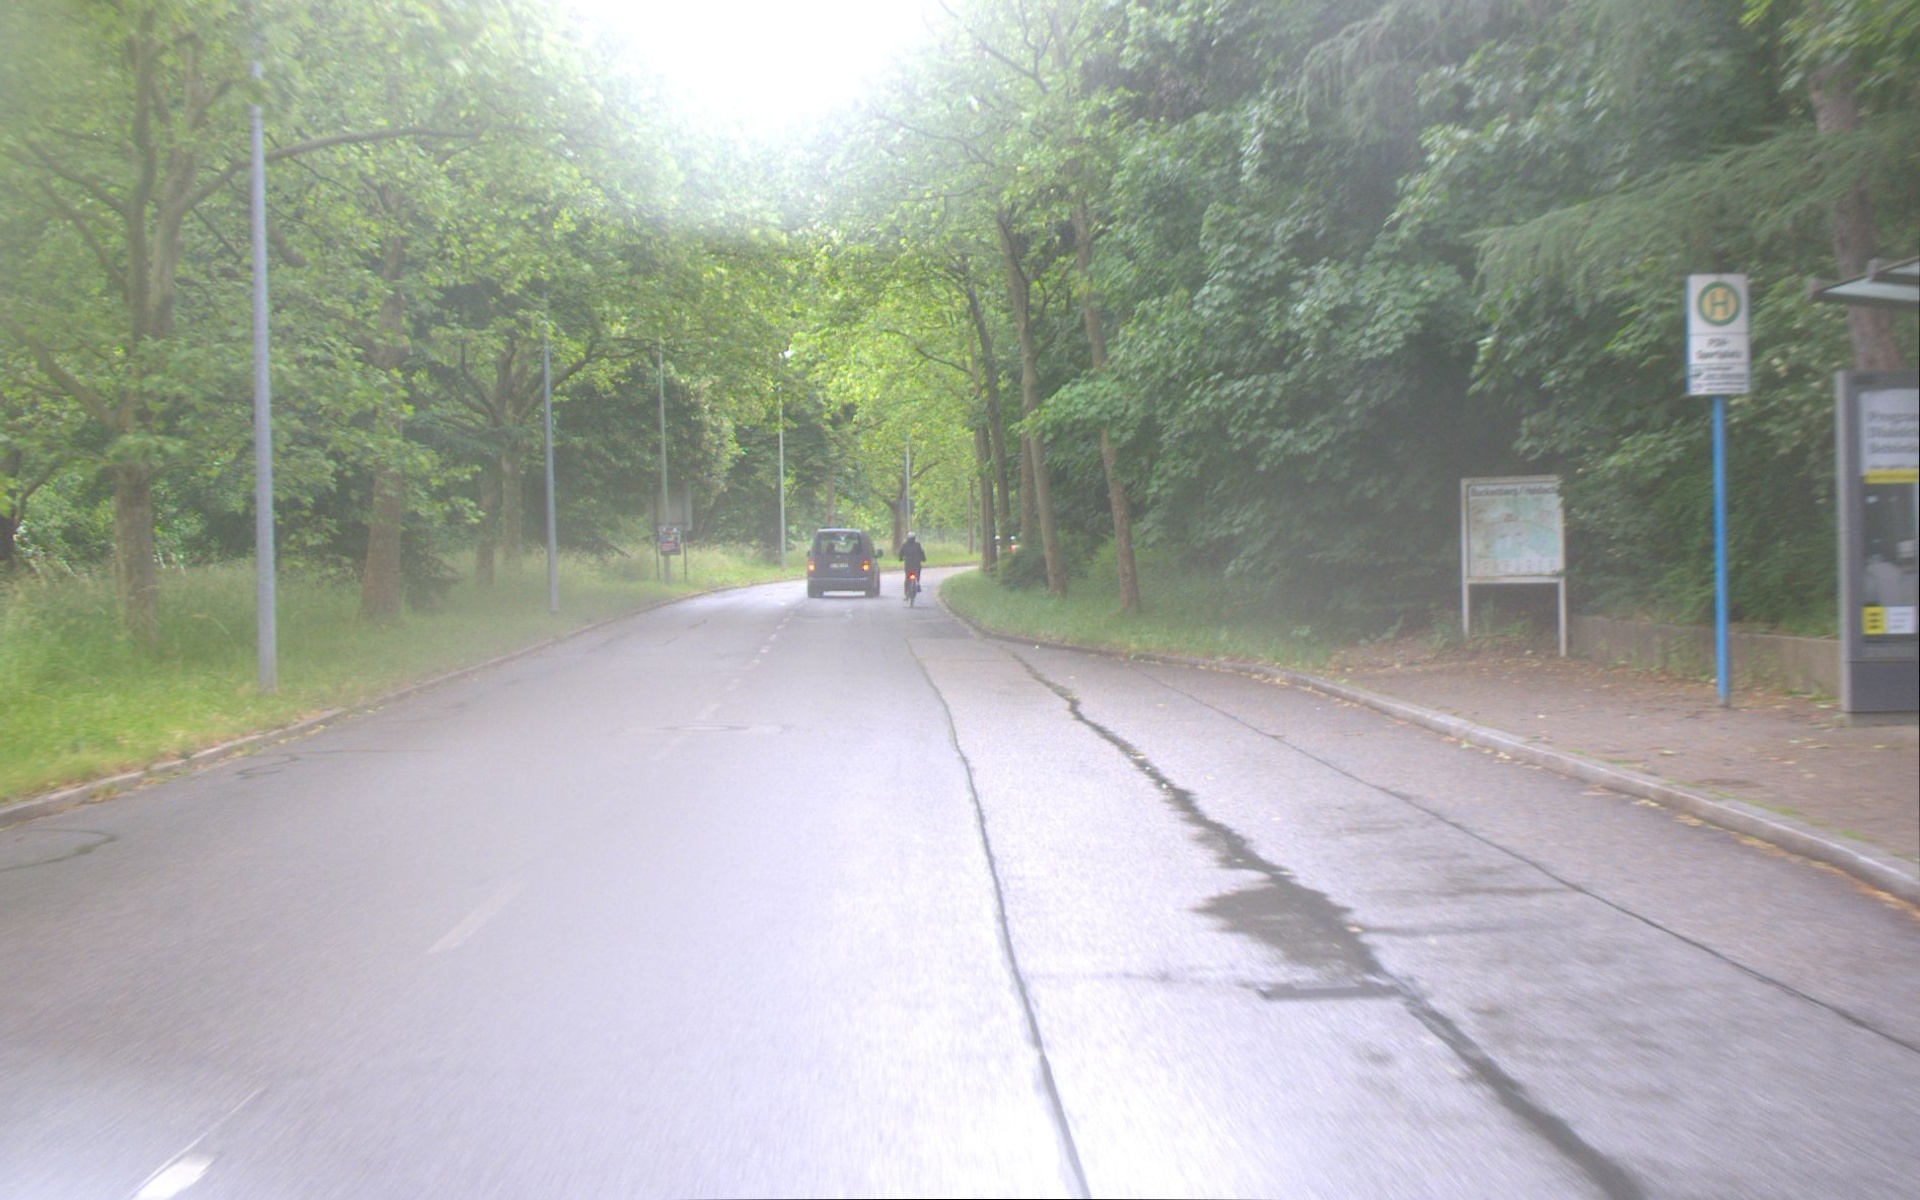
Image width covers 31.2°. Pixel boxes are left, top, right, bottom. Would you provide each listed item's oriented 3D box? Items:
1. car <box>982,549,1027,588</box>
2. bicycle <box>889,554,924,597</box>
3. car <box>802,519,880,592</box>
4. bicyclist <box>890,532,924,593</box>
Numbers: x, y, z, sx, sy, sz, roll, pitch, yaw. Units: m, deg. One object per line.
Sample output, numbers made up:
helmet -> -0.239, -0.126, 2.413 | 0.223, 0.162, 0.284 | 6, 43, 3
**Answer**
car -> 2.114, -1.476, 163.695 | 1.993, 1.809, 4.000 | 1, 0, -1
bicycle -> -1.246, -0.582, 80.309 | 0.730, 0.970, 2.173 | 1, 1, 2
car -> -3.221, -1.190, 92.361 | 1.985, 1.919, 4.001 | 0, 1, -4
bicyclist -> -1.240, -0.882, 80.363 | 0.730, 1.406, 0.973 | 1, 1, 2
